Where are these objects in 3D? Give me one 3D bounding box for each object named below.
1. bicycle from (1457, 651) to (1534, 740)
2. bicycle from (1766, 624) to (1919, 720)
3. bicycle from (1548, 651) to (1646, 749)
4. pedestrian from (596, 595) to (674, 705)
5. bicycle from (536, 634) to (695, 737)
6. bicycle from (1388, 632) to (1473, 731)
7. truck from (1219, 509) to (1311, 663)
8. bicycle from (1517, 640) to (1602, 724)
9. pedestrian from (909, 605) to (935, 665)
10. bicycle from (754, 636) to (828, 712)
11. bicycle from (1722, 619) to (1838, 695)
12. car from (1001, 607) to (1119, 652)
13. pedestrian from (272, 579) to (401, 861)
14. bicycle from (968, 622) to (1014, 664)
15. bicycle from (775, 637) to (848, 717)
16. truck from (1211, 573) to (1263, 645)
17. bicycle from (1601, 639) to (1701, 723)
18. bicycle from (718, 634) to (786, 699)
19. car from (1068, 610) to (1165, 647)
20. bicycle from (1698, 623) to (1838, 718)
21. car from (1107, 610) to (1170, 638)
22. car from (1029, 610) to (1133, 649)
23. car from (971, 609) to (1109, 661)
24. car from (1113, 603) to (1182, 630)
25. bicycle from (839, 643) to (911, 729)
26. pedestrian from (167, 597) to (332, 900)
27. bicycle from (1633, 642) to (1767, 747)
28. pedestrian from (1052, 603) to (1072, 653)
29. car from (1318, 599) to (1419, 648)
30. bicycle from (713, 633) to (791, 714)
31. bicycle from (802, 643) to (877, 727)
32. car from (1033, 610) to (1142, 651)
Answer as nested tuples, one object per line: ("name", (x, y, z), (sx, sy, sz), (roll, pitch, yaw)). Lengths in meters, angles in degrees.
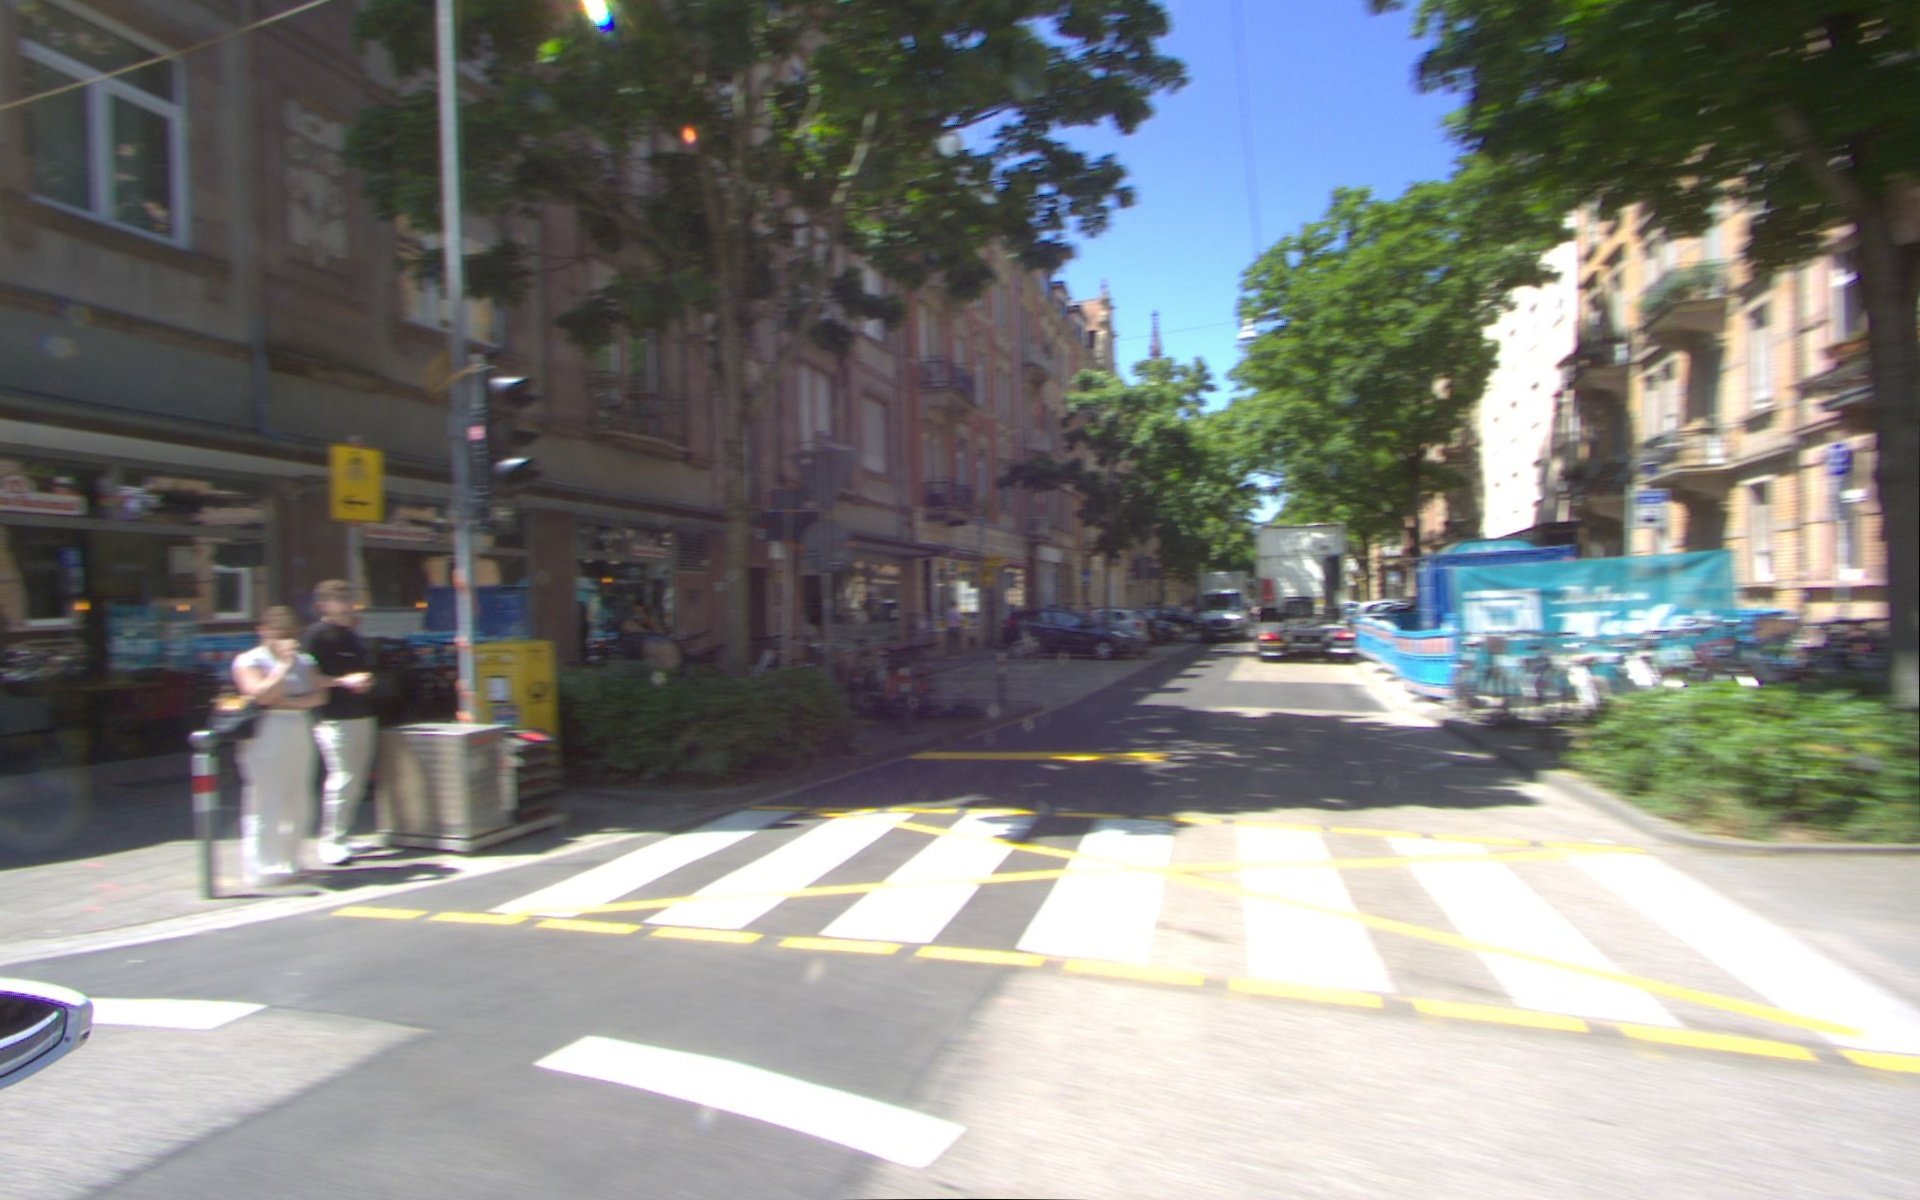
("bicycle", (6.392, 1.099, 12.025), (0.500, 0.883, 2.070), (-1, 0, 20))
("bicycle", (9.320, 0.718, 10.651), (0.500, 0.883, 2.070), (-1, 0, 20))
("bicycle", (6.787, 1.034, 10.743), (0.500, 0.883, 1.741), (-1, 0, 20))
("pedestrian", (-5.030, 0.761, 15.515), (0.773, 1.655, 0.858), (-1, 0, 16))
("bicycle", (-4.288, 1.029, 12.623), (0.509, 1.147, 1.975), (-1, 0, 33))
("bicycle", (5.935, 0.991, 12.715), (0.499, 1.121, 1.784), (-1, 0, 10))
("truck", (8.714, -0.324, 28.641), (2.247, 4.006, 4.470), (-1, 0, 17))
("bicycle", (7.456, 0.983, 12.533), (0.500, 0.883, 2.070), (-1, 0, 20))
("pedestrian", (-1.070, 0.978, 28.073), (0.549, 1.636, 0.491), (-1, 1, 21))
("bicycle", (-2.519, 1.087, 15.112), (0.462, 1.010, 1.764), (1, 0, 12))
("bicycle", (10.697, 0.716, 13.143), (0.500, 0.883, 2.070), (-1, 0, 20))
("car", (3.410, 0.996, 33.947), (3.782, 1.458, 1.791), (-1, 0, 14))
("pedestrian", (-4.160, 0.768, 6.711), (0.462, 1.793, 0.576), (2, 3, 8))
("bicycle", (0.810, 1.139, 26.844), (0.535, 1.059, 1.932), (-1, 0, -21))
("bicycle", (-2.095, 1.074, 14.354), (0.462, 1.019, 1.688), (1, 0, 12))
("truck", (11.968, 0.394, 43.128), (1.964, 2.894, 4.262), (-1, 0, 17))
("bicycle", (8.561, 0.972, 12.480), (0.500, 0.883, 2.070), (-1, 0, 20))
("bicycle", (-3.625, 1.141, 17.589), (0.495, 1.010, 1.728), (1, 0, 12))
("car", (6.423, 1.140, 41.041), (3.782, 1.458, 1.791), (-1, 0, 14))
("bicycle", (8.618, 0.712, 10.770), (0.500, 0.883, 2.070), (-1, 0, 20))
("car", (10.008, 1.344, 55.994), (3.359, 1.483, 1.617), (-2, 0, 13))
("car", (4.711, 1.134, 38.804), (3.782, 1.458, 1.791), (-1, 0, 14))
("car", (2.371, 1.002, 29.313), (3.782, 1.458, 1.791), (-1, 0, 14))
("car", (11.021, 0.944, 58.711), (3.858, 1.483, 1.617), (-2, 0, 13))
("bicycle", (-1.125, 1.125, 13.590), (0.462, 1.010, 1.764), (1, 0, 12))
("pedestrian", (-4.203, 0.834, 5.965), (0.414, 1.668, 0.703), (2, 3, 8))
("bicycle", (7.444, 0.906, 10.166), (0.500, 0.883, 2.070), (-1, 0, 20))
("pedestrian", (3.308, 0.896, 32.513), (0.534, 1.604, 0.478), (-1, 1, 14))
("car", (16.796, 0.972, 41.332), (3.727, 1.895, 1.768), (-2, 0, 20))
("bicycle", (-3.115, 1.081, 15.140), (0.462, 1.095, 1.764), (1, 0, 12))
("bicycle", (-1.626, 1.137, 13.792), (0.462, 1.010, 1.764), (1, 0, 12))
("car", (4.711, 1.106, 36.764), (3.782, 1.458, 1.791), (-1, 0, 14))
